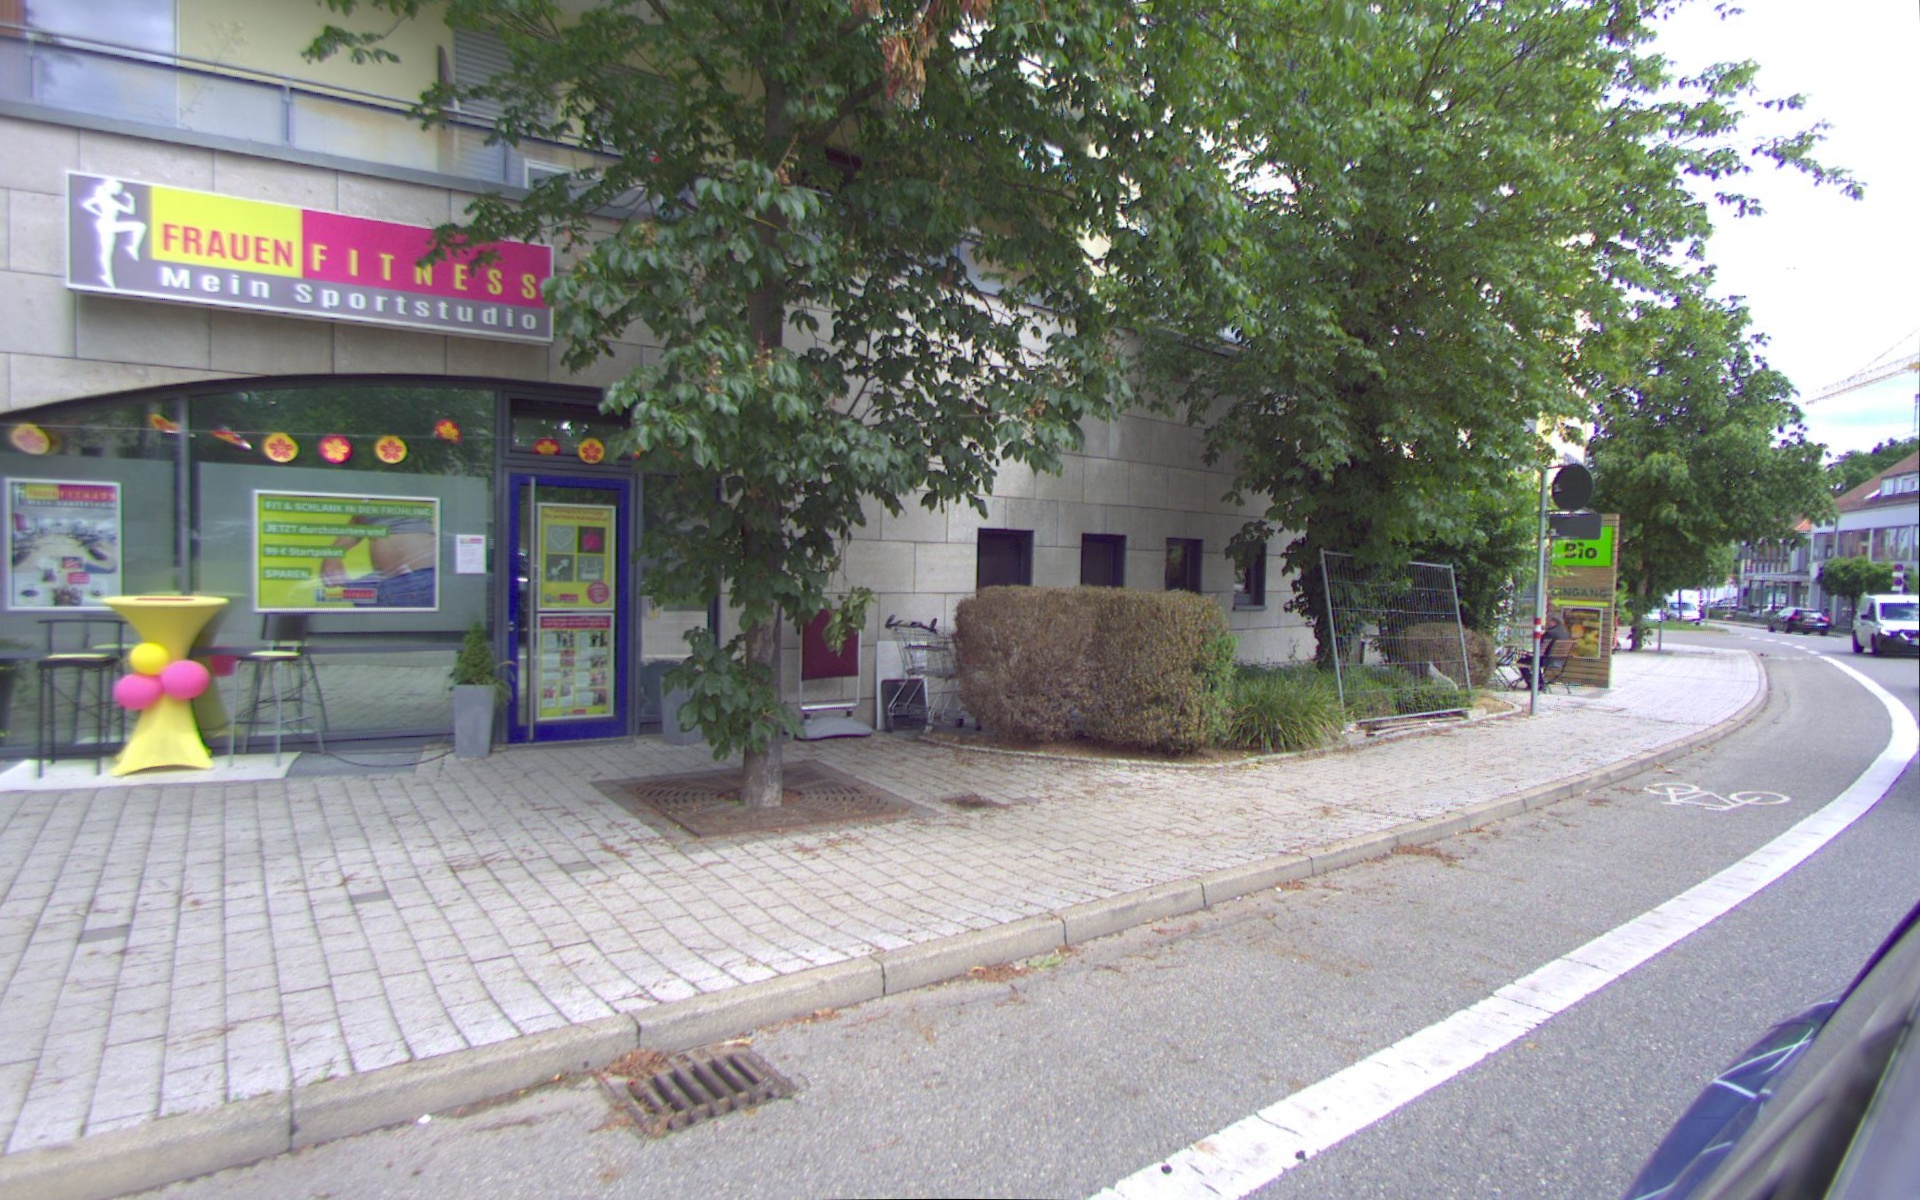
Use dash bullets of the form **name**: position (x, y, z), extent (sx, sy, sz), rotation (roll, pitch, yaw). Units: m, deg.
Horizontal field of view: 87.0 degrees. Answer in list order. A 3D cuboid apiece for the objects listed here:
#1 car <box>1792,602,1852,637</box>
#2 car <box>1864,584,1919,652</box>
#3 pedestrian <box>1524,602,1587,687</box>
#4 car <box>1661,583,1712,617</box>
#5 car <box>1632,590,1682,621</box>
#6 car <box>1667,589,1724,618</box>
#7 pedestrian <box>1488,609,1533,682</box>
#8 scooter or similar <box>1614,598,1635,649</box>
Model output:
- **car**: position (43.770, 0.955, 51.467), extent (1.682, 1.499, 4.176), rotation (6, 4, 33)
- **car**: position (28.127, 0.478, 29.810), extent (1.957, 1.829, 4.368), rotation (1, 2, 39)
- **pedestrian**: position (9.828, 0.719, 16.707), extent (0.567, 1.333, 0.691), rotation (-1, 2, -32)
- **car**: position (56.003, -0.017, 78.111), extent (2.048, 2.382, 5.140), rotation (5, 2, 24)
- **car**: position (40.954, 0.303, 59.568), extent (1.678, 1.687, 4.422), rotation (3, 1, 26)
- **car**: position (46.035, 0.234, 63.278), extent (4.384, 1.687, 1.941), rotation (2, 1, -41)
- **pedestrian**: position (9.606, 0.778, 17.654), extent (0.576, 1.218, 0.495), rotation (1, 2, 41)
- **scooter or similar**: position (18.234, 0.627, 27.760), extent (0.380, 1.332, 1.439), rotation (1, 2, 37)
